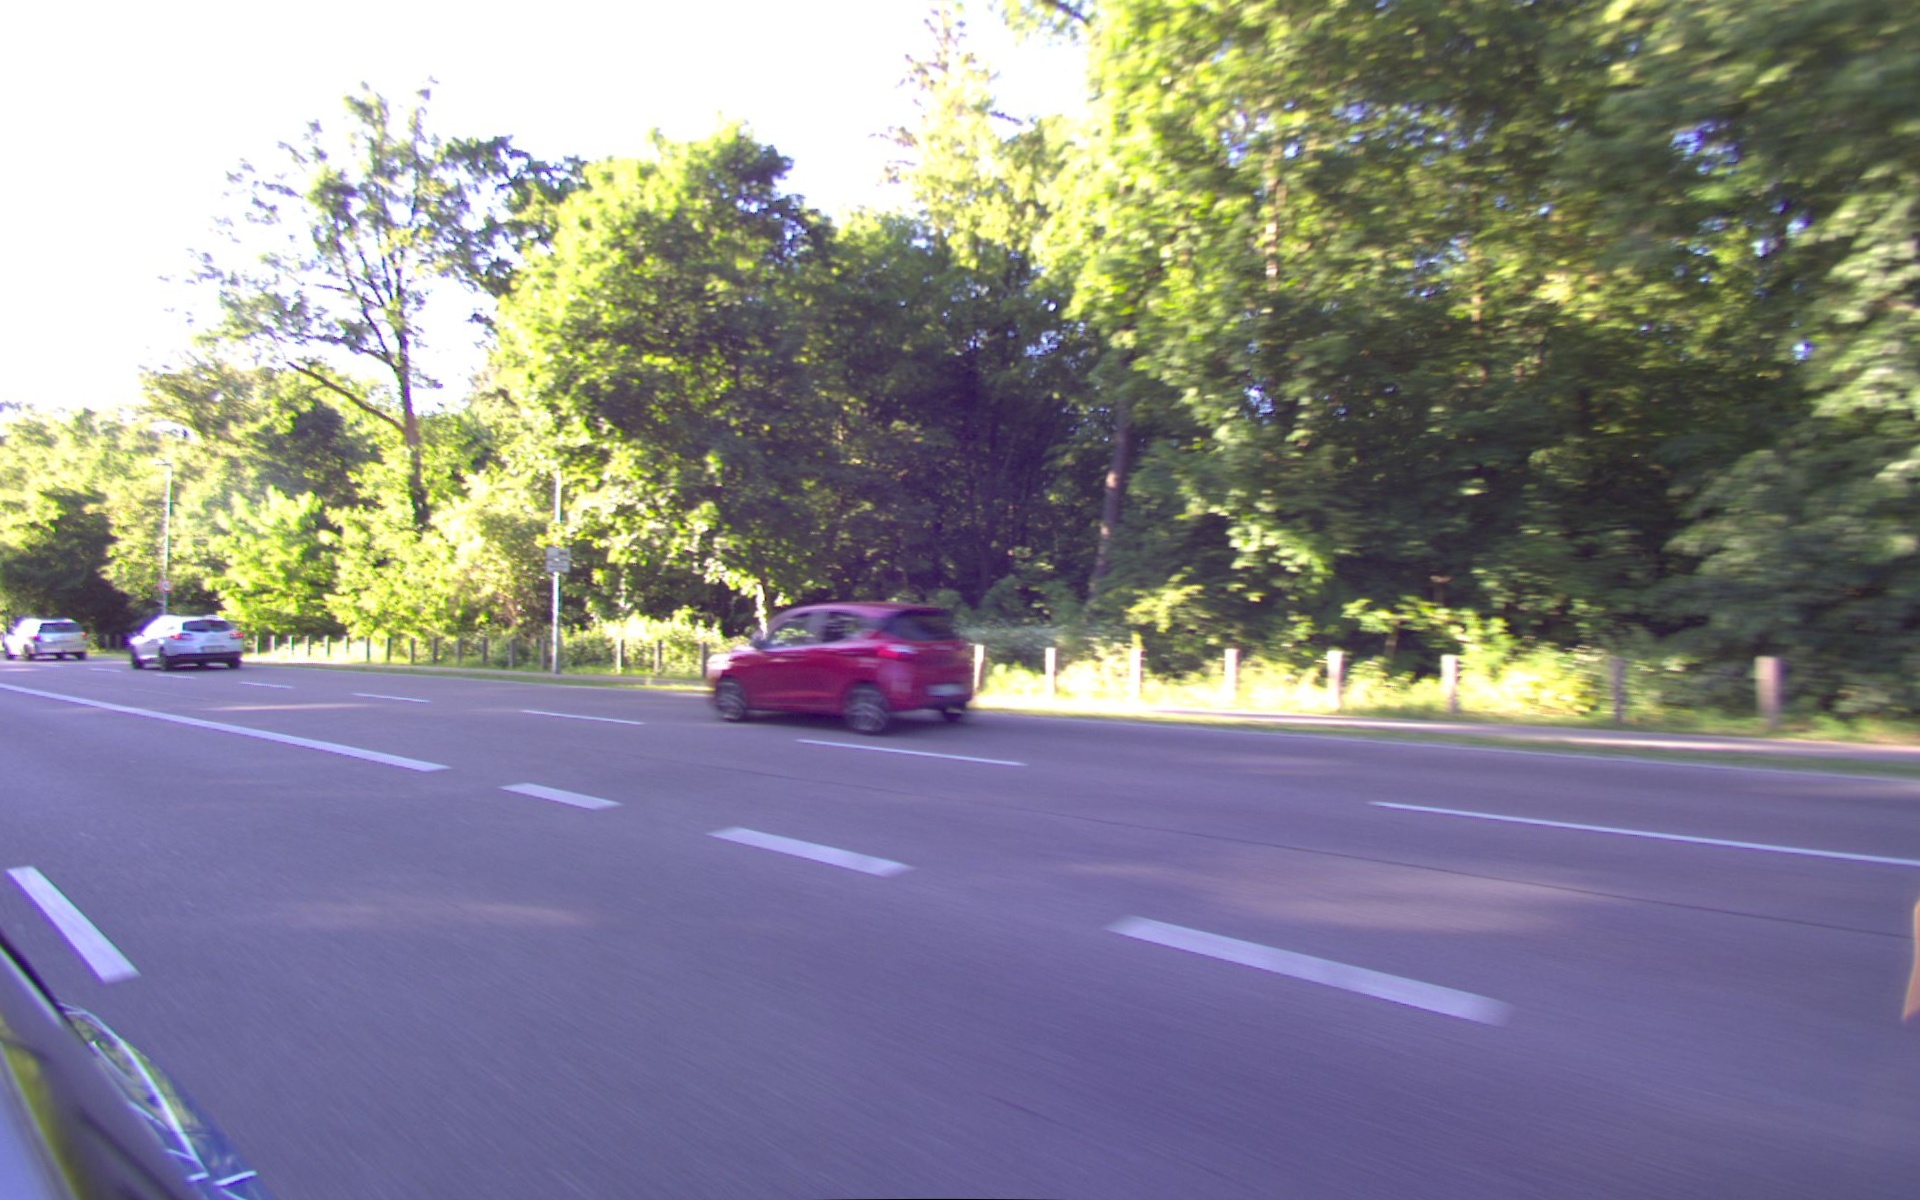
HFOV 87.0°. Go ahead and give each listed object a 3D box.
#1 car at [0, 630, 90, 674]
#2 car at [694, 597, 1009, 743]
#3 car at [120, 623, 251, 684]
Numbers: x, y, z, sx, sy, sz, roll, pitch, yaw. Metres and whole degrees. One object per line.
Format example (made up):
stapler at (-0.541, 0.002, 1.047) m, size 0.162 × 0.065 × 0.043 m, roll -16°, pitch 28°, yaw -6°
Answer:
car at (-33.241, 1.842, 36.653) m, size 4.267 × 1.475 × 1.763 m, roll -1°, pitch 0°, yaw 37°
car at (-1.422, 0.789, 12.426) m, size 3.802 × 1.529 × 1.647 m, roll -2°, pitch -2°, yaw 39°
car at (-21.678, 1.475, 28.278) m, size 4.389 × 1.534 × 1.767 m, roll -3°, pitch -1°, yaw 37°
